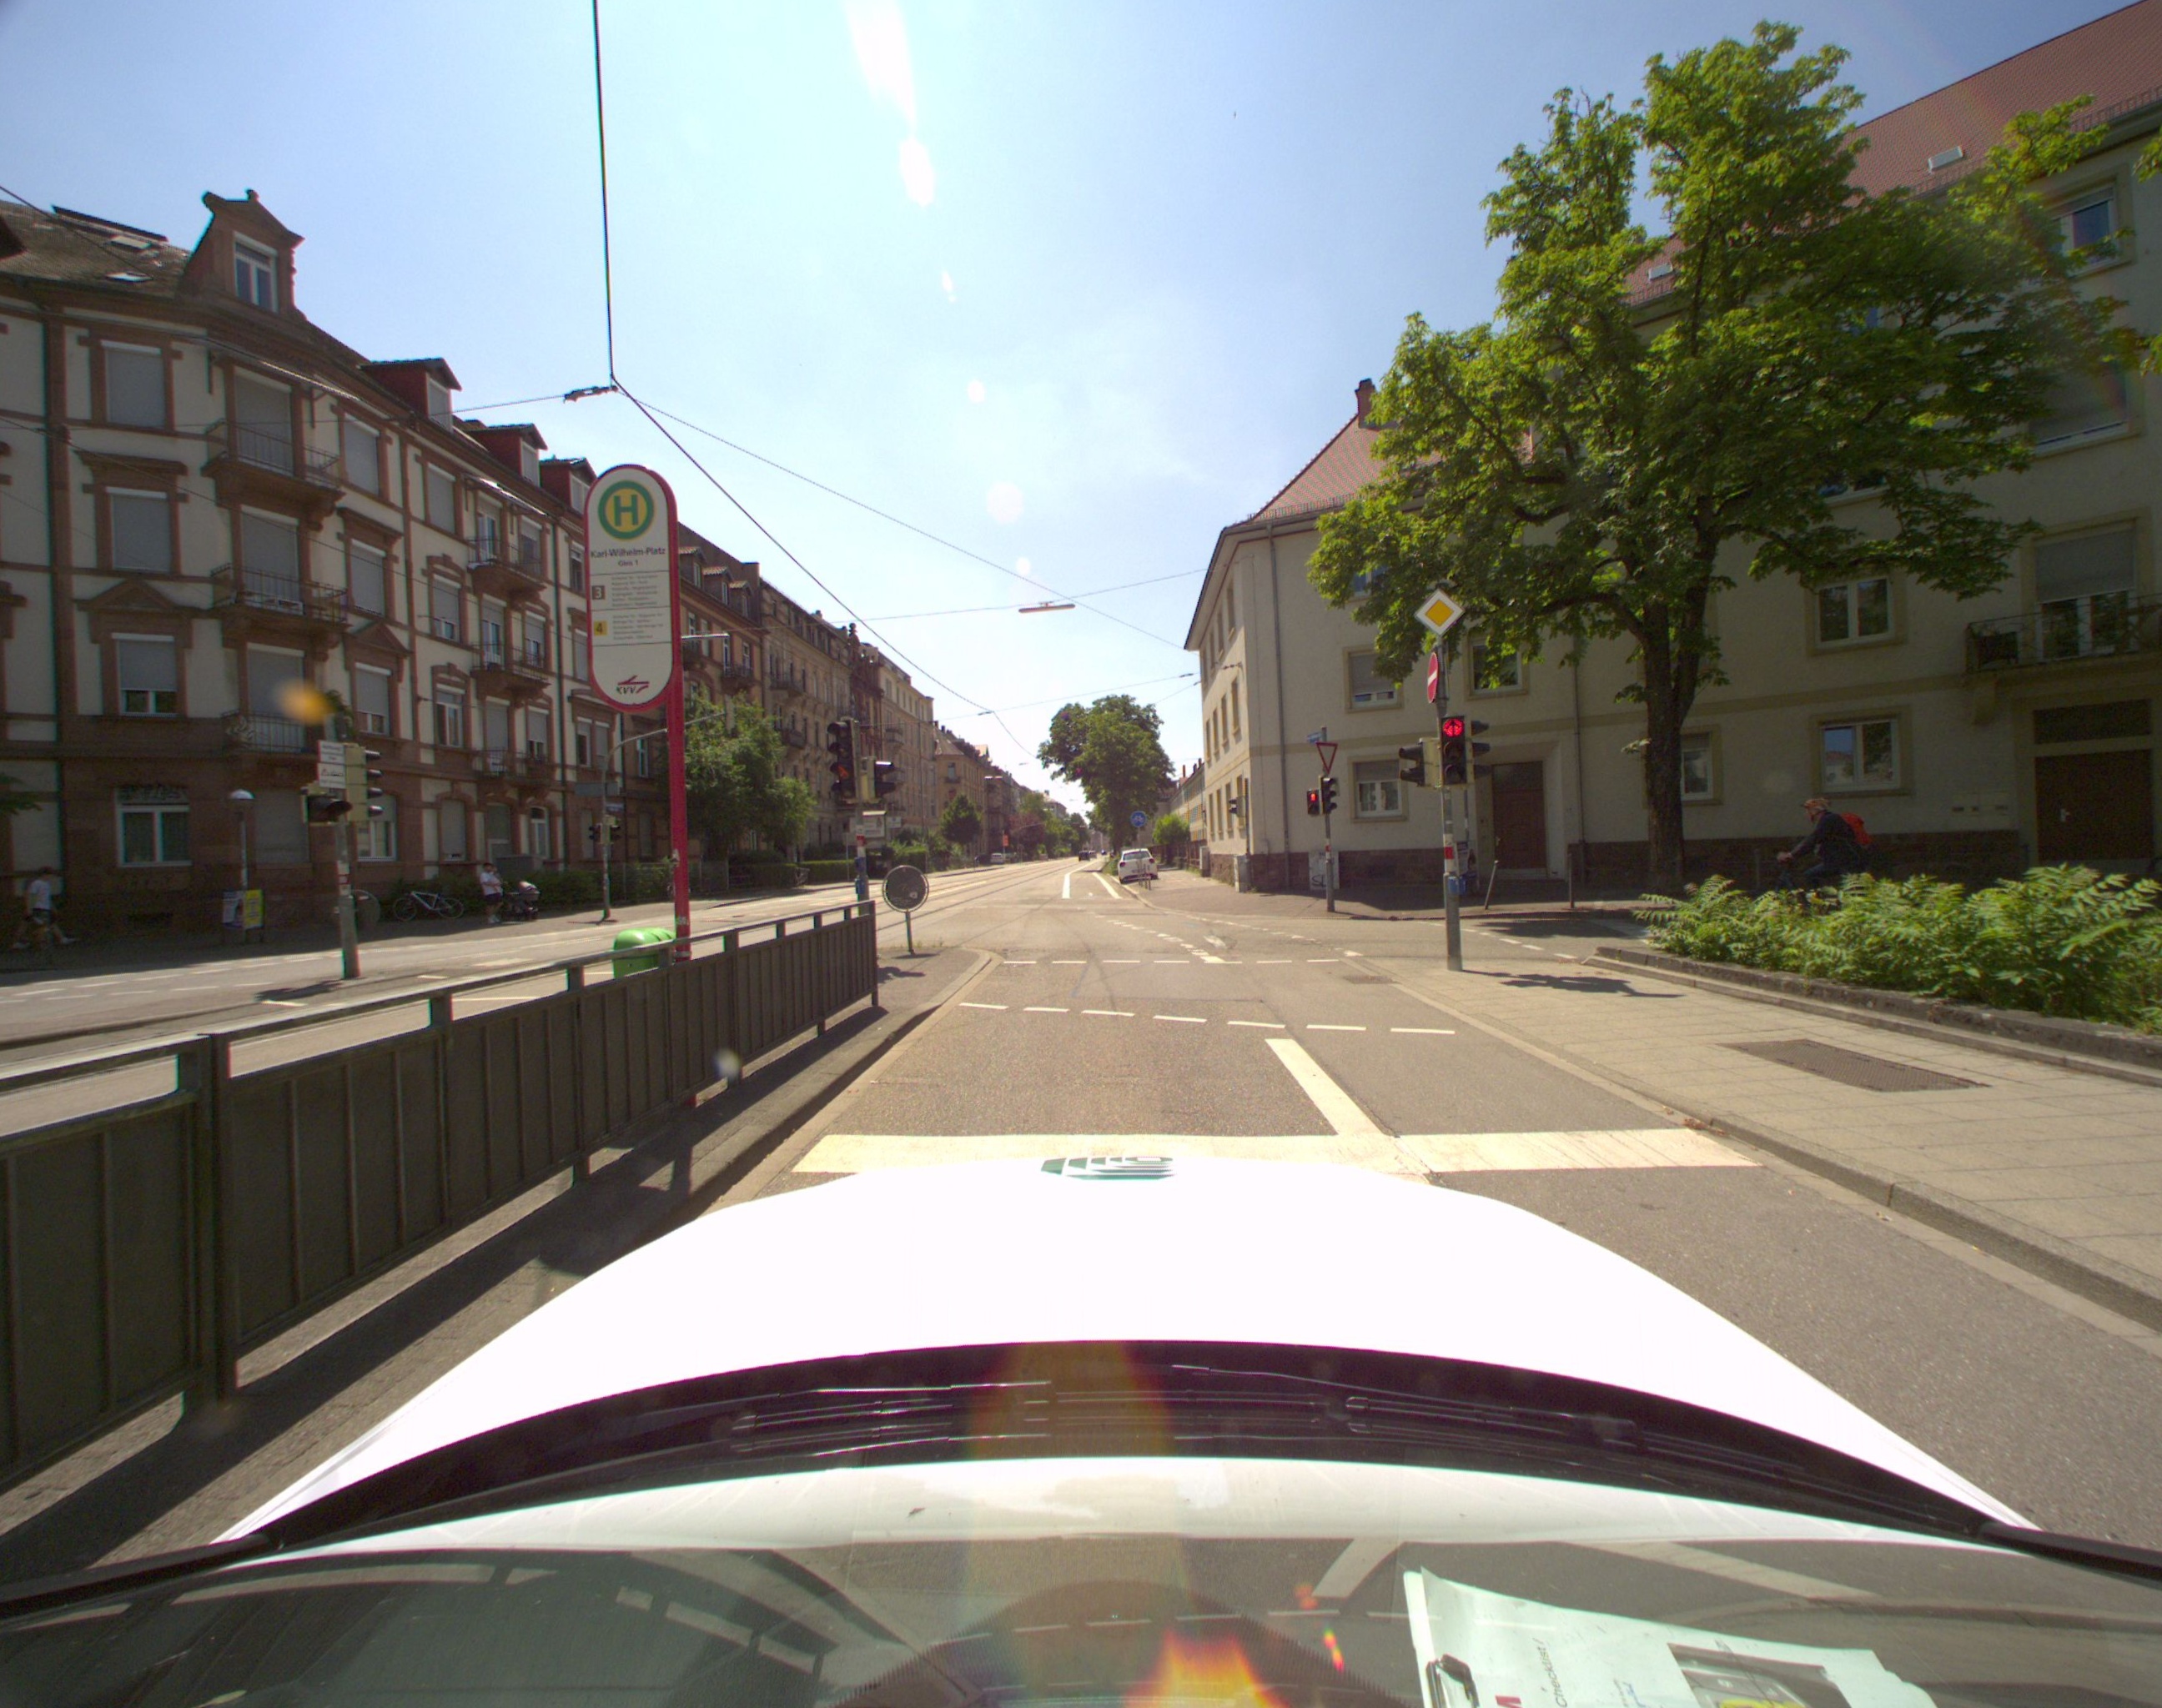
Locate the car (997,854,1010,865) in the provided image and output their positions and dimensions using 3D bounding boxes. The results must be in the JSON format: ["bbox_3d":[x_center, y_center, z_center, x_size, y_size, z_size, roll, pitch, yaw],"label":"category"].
[{"bbox_3d":[-11.827,0.863,124.344,1.623,1.472,3.563,-5,0,0],"label":"car"}]

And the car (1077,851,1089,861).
[{"bbox_3d":[0.364,0.284,120.957,1.519,1.444,3.367,-4,0,2],"label":"car"}]

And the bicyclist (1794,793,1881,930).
[{"bbox_3d":[9.447,0.090,10.193,0.687,1.646,0.584,-2,-1,35],"label":"bicyclist"}]

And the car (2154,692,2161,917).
[{"bbox_3d":[12.569,-0.293,5.854,2.010,2.590,5.784,-2,0,-37],"label":"car"}]

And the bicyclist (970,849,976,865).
[{"bbox_3d":[-11.681,0.329,88.338,0.540,1.763,0.498,-2,-1,1],"label":"bicyclist"}]

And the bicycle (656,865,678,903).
[{"bbox_3d":[-15.943,1.139,31.414,0.617,1.395,2.289,-1,0,-24],"label":"bicycle"}]

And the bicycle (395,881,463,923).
[{"bbox_3d":[-19.366,1.416,24.223,1.522,1.169,0.362,-1,1,-25],"label":"bicycle"}]

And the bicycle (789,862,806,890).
[{"bbox_3d":[-14.383,1.101,41.258,0.594,1.356,2.421,-1,0,-24],"label":"bicycle"}]

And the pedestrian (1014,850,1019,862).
[{"bbox_3d":[-9.371,0.363,118.833,0.675,1.727,0.678,-2,-1,1],"label":"pedestrian"}]

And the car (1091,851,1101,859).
[{"bbox_3d":[2.970,0.240,159.702,1.741,1.472,3.939,-5,0,1],"label":"car"}]

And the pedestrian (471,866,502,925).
[{"bbox_3d":[-16.856,1.160,23.080,0.657,1.615,0.464,-1,2,-40],"label":"pedestrian"}]

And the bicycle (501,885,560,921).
[{"bbox_3d":[-16.268,1.444,24.088,1.410,1.013,0.384,1,-2,-38],"label":"bicycle"}]

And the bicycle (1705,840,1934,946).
[{"bbox_3d":[9.247,0.473,10.323,2.060,1.236,0.584,-2,-1,35],"label":"bicycle"}]

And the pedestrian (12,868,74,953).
[{"bbox_3d":[-22.916,1.228,17.988,0.565,1.825,0.631,-1,-1,-20],"label":"pedestrian"}]

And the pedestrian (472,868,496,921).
[{"bbox_3d":[-17.419,1.166,23.748,0.510,1.516,0.464,-1,-1,-40],"label":"pedestrian"}]

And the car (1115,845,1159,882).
[{"bbox_3d":[2.520,0.416,37.302,1.741,1.472,3.939,-5,0,1],"label":"car"}]

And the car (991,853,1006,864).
[{"bbox_3d":[-11.791,0.631,116.184,1.679,1.472,3.937,-5,0,0],"label":"car"}]

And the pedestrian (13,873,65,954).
[{"bbox_3d":[-23.606,1.336,18.463,0.508,1.768,0.525,-1,-1,-20],"label":"pedestrian"}]

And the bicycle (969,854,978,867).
[{"bbox_3d":[-11.664,0.739,88.342,0.575,1.388,2.502,-2,0,2],"label":"bicycle"}]

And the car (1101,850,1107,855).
[{"bbox_3d":[7.135,-0.389,255.679,1.623,1.472,3.563,-5,0,0],"label":"car"}]
